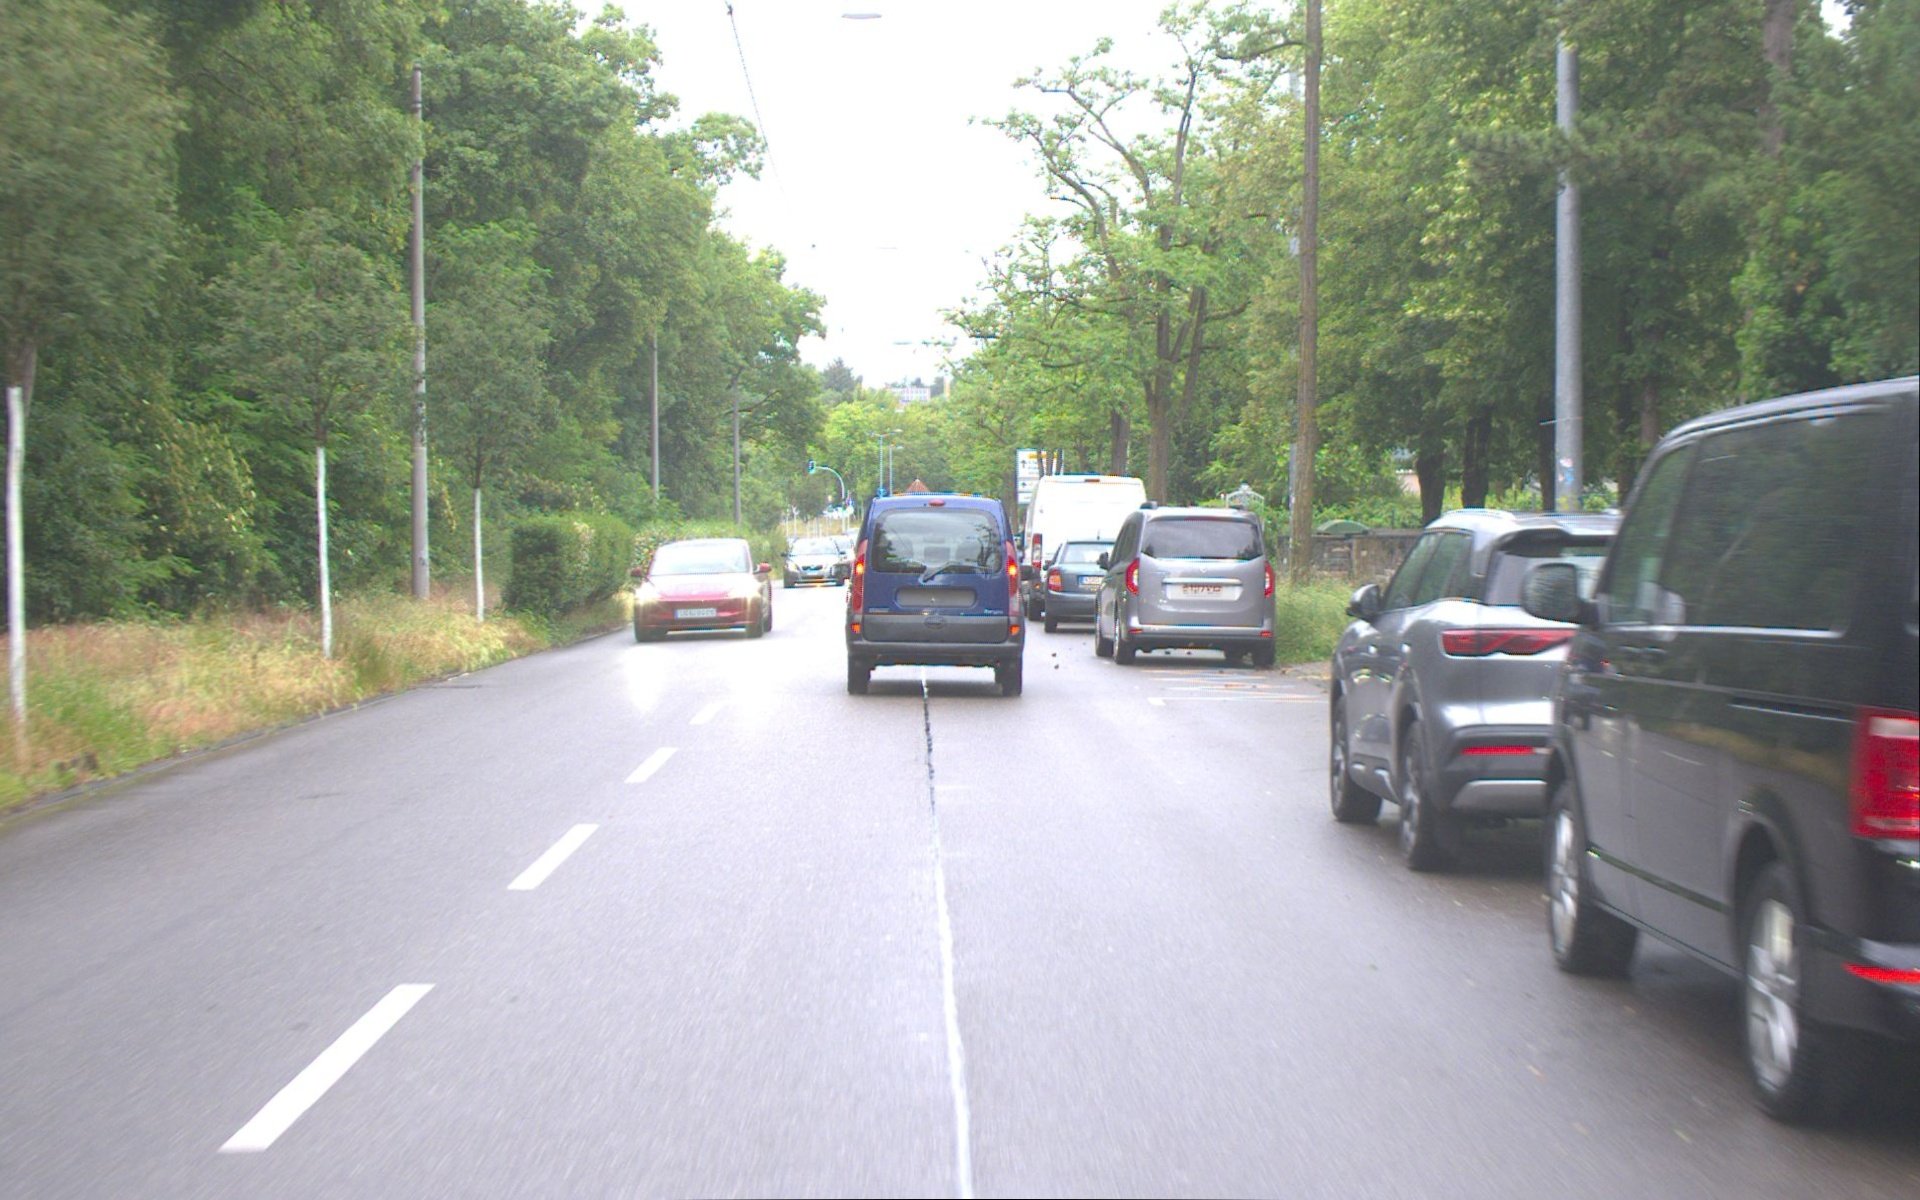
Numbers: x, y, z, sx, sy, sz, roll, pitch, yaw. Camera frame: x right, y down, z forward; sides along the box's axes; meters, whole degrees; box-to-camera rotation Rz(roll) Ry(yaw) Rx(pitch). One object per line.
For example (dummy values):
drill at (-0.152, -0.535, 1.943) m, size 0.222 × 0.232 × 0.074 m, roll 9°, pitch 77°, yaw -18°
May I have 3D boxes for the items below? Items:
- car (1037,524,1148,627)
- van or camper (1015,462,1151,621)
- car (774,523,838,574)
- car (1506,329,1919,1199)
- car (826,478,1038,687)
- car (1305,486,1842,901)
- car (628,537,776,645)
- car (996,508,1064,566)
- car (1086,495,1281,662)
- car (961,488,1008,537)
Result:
car at (2.051, -0.410, 53.169) m, size 1.626 × 1.459 × 3.808 m, roll 1°, pitch 2°, yaw 2°
van or camper at (2.129, -1.086, 60.971) m, size 2.078 × 2.641 × 5.347 m, roll 1°, pitch 2°, yaw -1°
car at (-4.595, -1.520, 102.915) m, size 1.783 × 1.474 × 3.968 m, roll -1°, pitch 0°, yaw -1°
car at (3.048, 0.326, 10.237) m, size 1.993 × 2.006 × 4.888 m, roll 1°, pitch 2°, yaw 0°
car at (-0.317, -0.218, 32.407) m, size 1.766 × 1.824 × 3.543 m, roll 1°, pitch 2°, yaw -4°
car at (2.818, 0.327, 16.746) m, size 1.773 × 1.717 × 4.327 m, roll 1°, pitch 2°, yaw 0°
car at (-3.767, -0.167, 50.733) m, size 1.860 × 1.475 × 4.157 m, roll -1°, pitch 1°, yaw 0°
car at (1.890, -1.734, 93.972) m, size 1.721 × 1.500 × 4.051 m, roll 1°, pitch 2°, yaw 0°
car at (2.578, -0.305, 40.575) m, size 1.814 × 1.807 × 4.283 m, roll 1°, pitch 2°, yaw -2°
car at (1.201, -4.344, 171.346) m, size 2.205 × 2.441 × 4.730 m, roll 0°, pitch 1°, yaw -1°
